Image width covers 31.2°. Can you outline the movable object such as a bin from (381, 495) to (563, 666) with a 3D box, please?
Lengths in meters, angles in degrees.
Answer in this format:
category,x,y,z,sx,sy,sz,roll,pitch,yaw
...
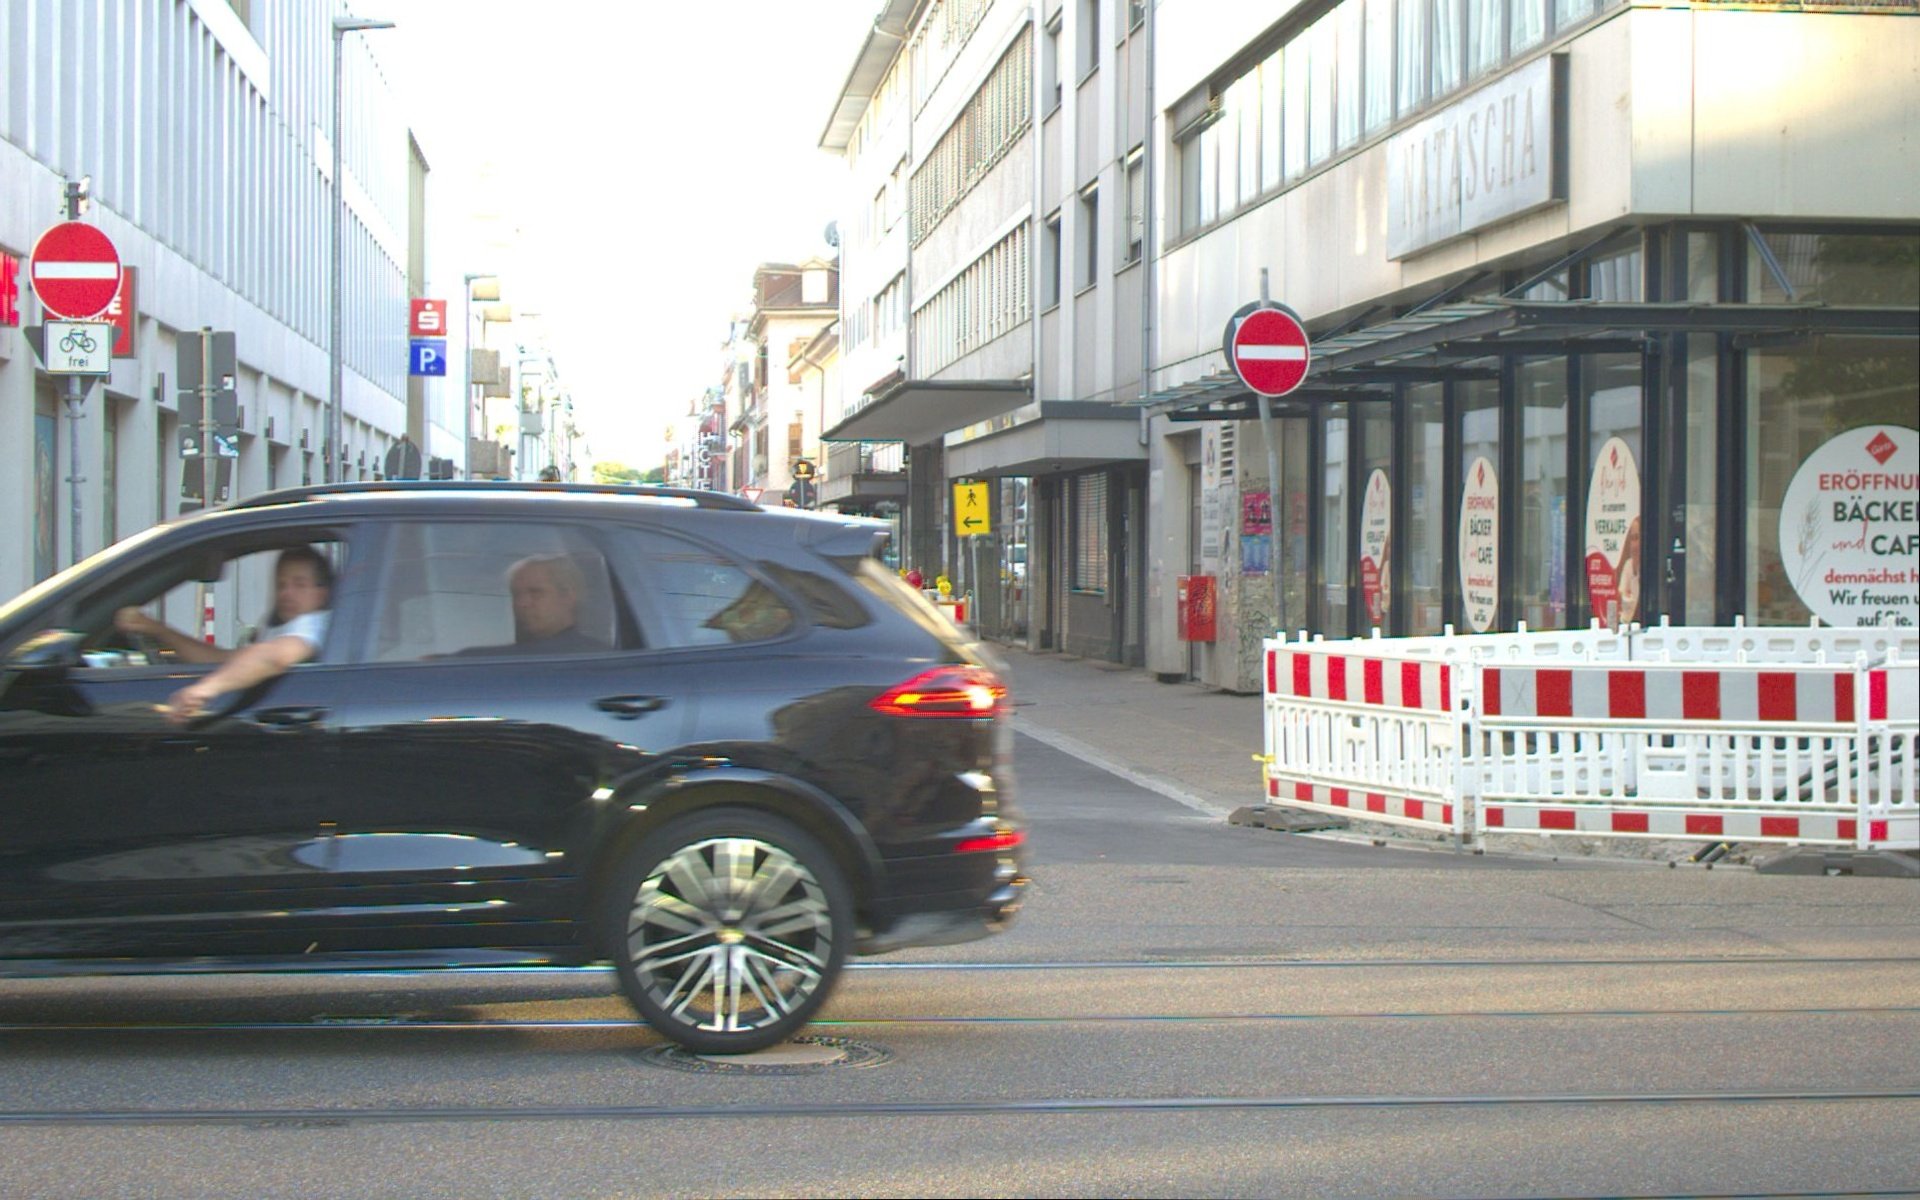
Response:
category,x,y,z,sx,sy,sz,roll,pitch,yaw
movable object such as a bin,-6.001,-0.265,42.689,1.993,2.007,4.001,-1,1,-5

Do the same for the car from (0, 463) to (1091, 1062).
category,x,y,z,sx,sy,sz,roll,pitch,yaw
car,-2.172,0.466,10.932,4.929,1.720,2.022,1,0,-5

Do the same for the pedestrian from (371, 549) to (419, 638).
category,x,y,z,sx,sy,sz,roll,pitch,yaw
pedestrian,-9.432,-0.111,57.418,0.716,1.459,0.525,-1,1,-3

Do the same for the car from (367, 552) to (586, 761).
category,x,y,z,sx,sy,sz,roll,pitch,yaw
car,-3.881,0.405,27.511,1.629,1.545,3.143,-1,1,-9

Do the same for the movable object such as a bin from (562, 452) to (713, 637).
category,x,y,z,sx,sy,sz,roll,pitch,yaw
movable object such as a bin,-4.865,-0.826,51.755,2.156,2.654,4.573,0,1,-5
